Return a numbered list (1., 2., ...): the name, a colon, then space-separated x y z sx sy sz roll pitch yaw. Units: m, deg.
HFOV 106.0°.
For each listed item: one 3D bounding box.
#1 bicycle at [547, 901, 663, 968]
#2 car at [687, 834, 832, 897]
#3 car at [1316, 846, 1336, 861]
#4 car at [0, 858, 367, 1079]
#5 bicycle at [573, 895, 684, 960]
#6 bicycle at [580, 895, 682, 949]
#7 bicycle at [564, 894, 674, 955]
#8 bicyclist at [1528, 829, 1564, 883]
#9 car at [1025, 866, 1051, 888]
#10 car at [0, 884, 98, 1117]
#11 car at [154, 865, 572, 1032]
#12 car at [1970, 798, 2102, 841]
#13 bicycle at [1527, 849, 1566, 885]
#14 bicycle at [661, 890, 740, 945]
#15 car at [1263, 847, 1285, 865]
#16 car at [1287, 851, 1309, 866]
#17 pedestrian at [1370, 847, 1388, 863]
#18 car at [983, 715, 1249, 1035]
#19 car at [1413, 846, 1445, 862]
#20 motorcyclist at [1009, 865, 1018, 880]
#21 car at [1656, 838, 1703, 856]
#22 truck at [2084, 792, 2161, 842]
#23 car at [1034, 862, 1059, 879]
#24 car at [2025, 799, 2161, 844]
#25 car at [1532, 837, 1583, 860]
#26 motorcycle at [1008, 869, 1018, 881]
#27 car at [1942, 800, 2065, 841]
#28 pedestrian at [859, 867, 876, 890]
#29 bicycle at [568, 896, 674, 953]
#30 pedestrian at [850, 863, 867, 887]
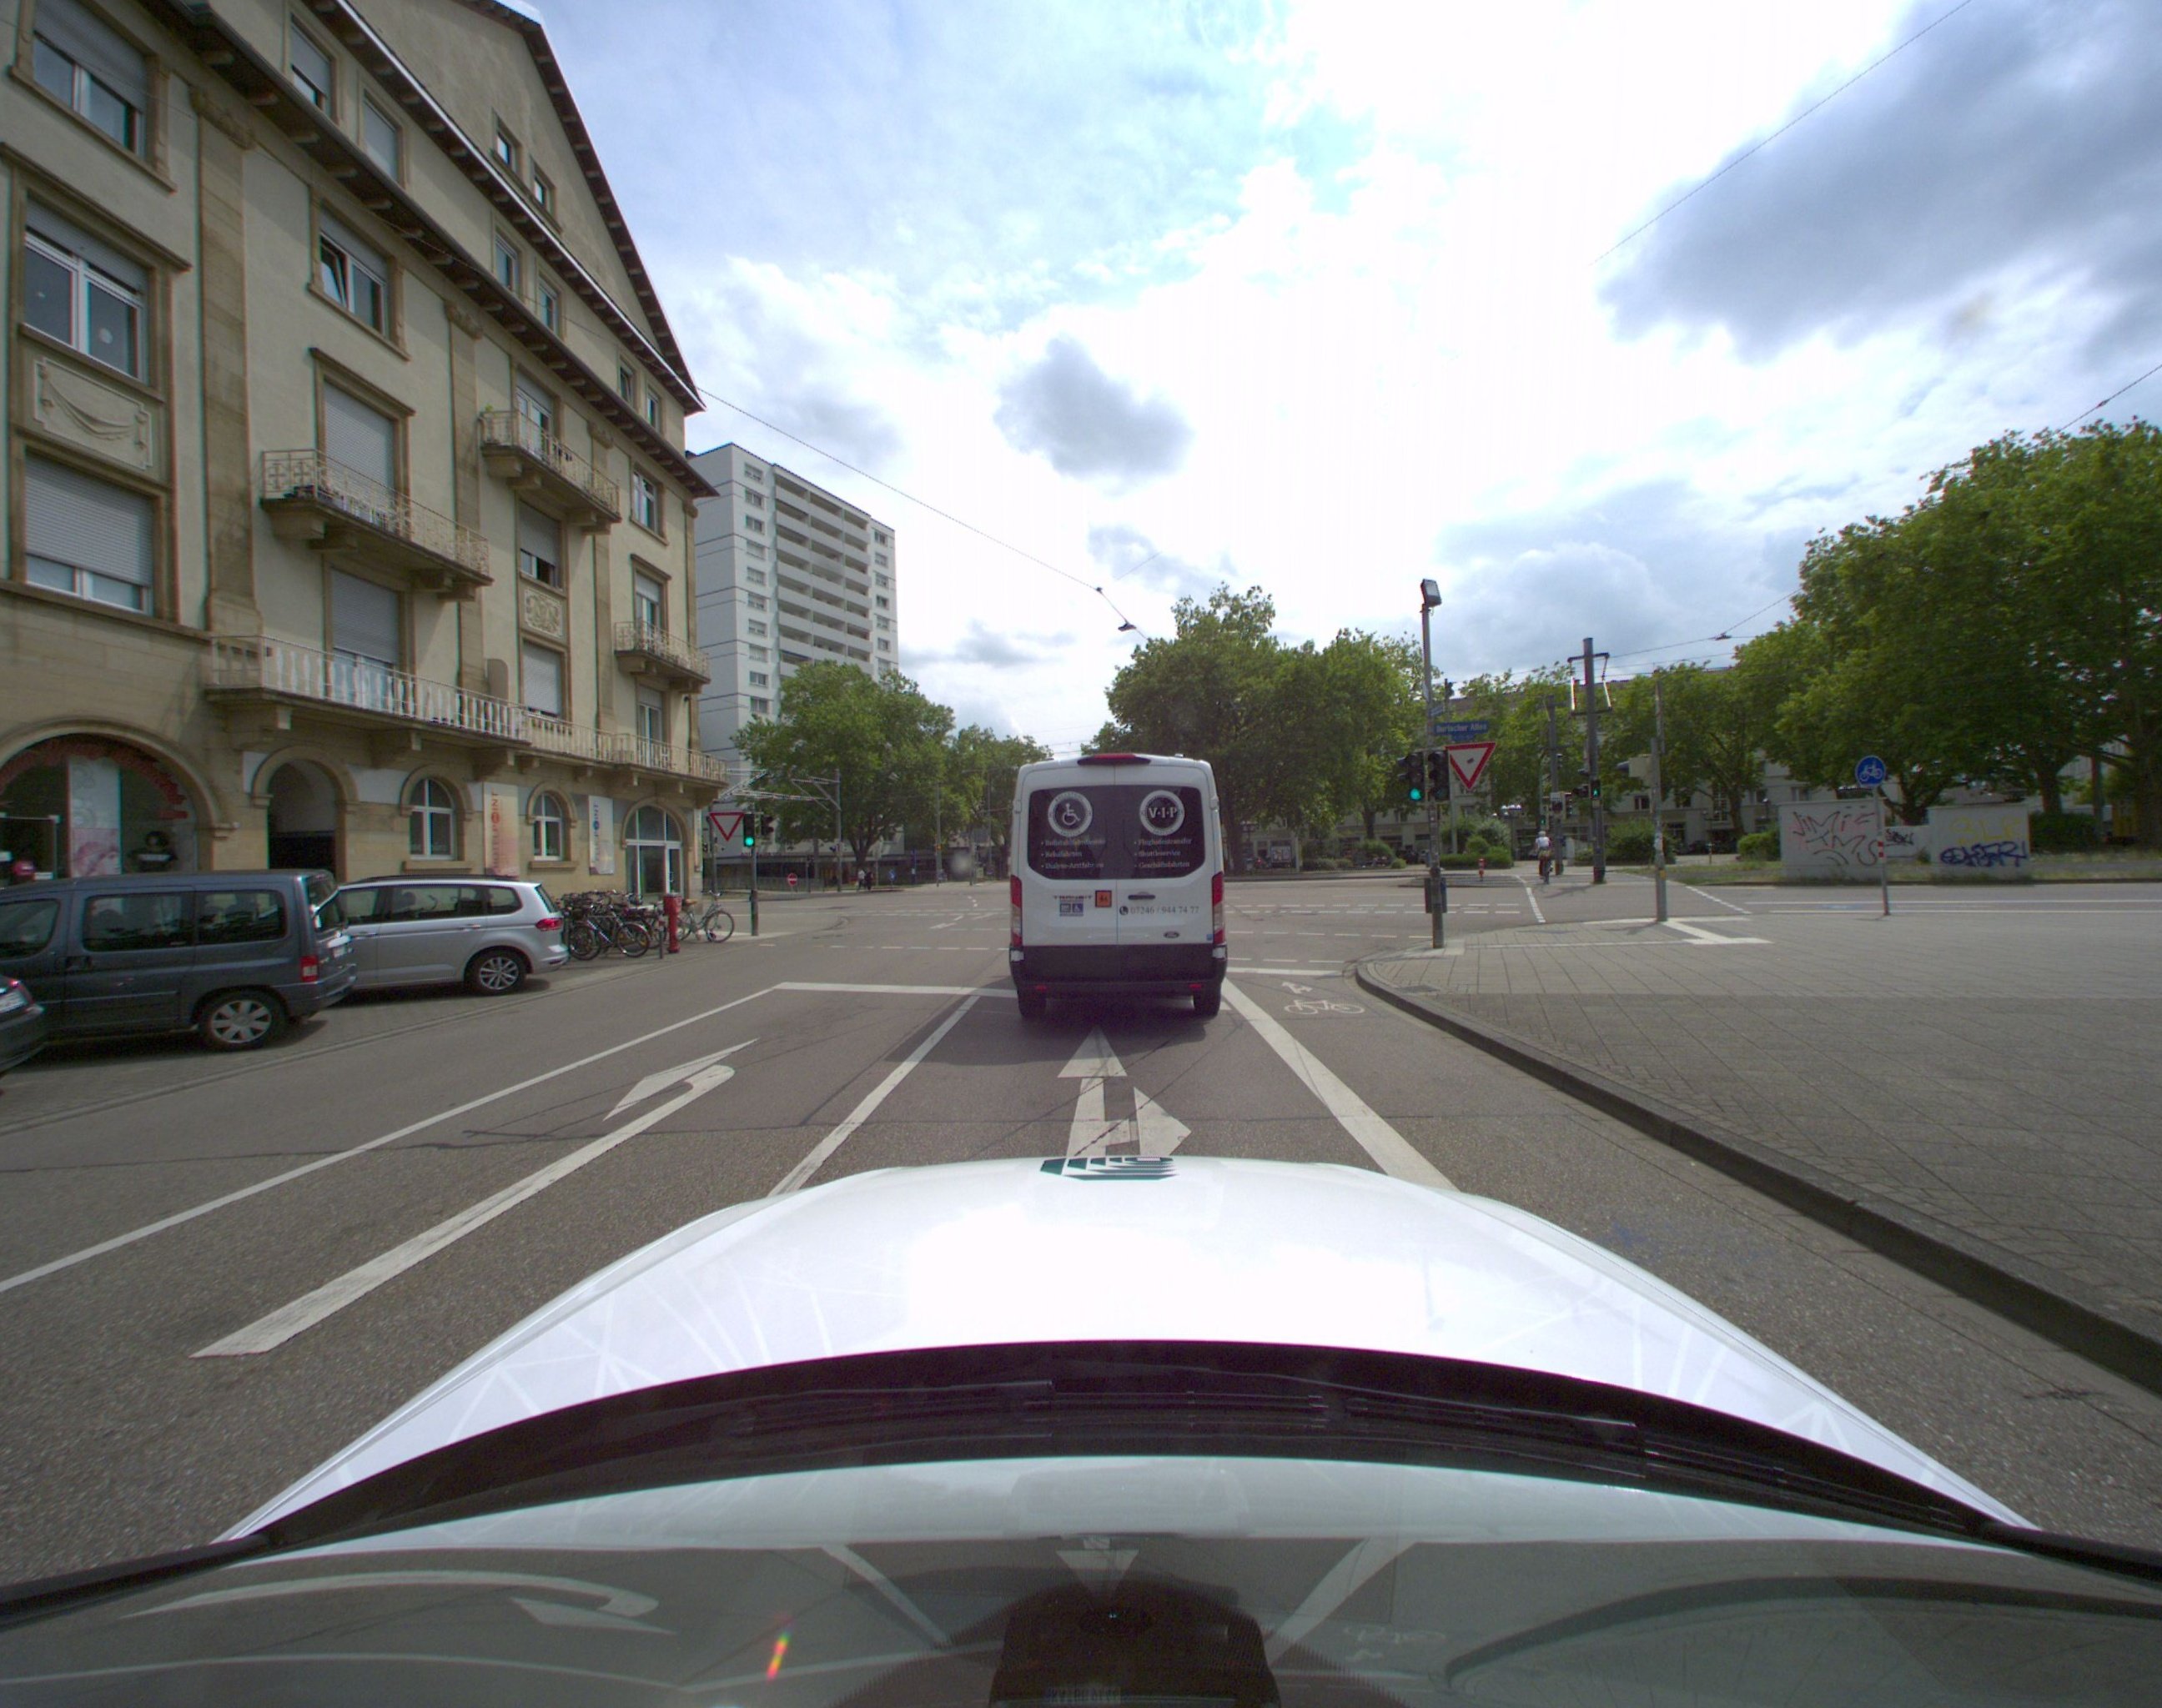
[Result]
1. bicycle: -8.651 1.460 14.820 1.799 1.120 0.595 -2 -1 8
2. car: -22.003 0.835 55.591 9.792 3.915 3.476 -2 0 27
3. car: 30.072 -0.072 100.049 1.788 1.684 4.023 -2 0 24
4. car: -9.819 1.049 8.018 4.031 1.879 1.776 -2 0 -37
5. bicycle: -8.588 1.387 15.480 1.800 1.120 0.595 1 0 5
6. bicycle: -9.674 1.453 17.557 1.807 1.120 0.593 0 -1 -6
7. bicycle: -9.187 1.388 16.234 1.807 1.166 0.593 0 -1 -6
8. bicyclist: 14.857 0.071 26.043 0.895 1.683 0.761 -2 0 25
9. car: -3.361 1.776 63.806 1.585 1.508 3.809 -2 0 2
10. car: -9.813 1.127 5.293 4.031 1.652 1.776 -2 -1 -37
11. car: -9.501 1.114 11.246 4.031 1.773 1.776 -2 0 -37
12. car: 65.798 -2.349 56.283 5.271 2.585 2.512 -2 -2 24
13. bicycle: 14.871 0.390 26.047 0.894 1.075 1.981 -2 0 25
14. bicycle: -8.669 1.435 18.557 1.859 1.167 0.500 0 -1 22
15. car: 21.900 0.192 92.570 1.983 1.930 4.008 -2 0 7
16. car: 24.323 0.495 91.559 1.795 1.684 4.008 -2 0 7
17. pedestrian: 24.814 0.087 67.857 1.086 1.236 1.443 -4 -1 6
18. car: 0.332 0.219 9.273 2.174 2.648 4.628 -2 -1 1
19. car: 36.426 0.011 85.336 1.983 1.503 4.008 -2 0 7
20. motorcyclist: -6.347 1.708 76.669 0.680 1.395 0.682 -2 0 2
21. car: 55.849 -0.629 76.081 1.757 1.503 4.008 -2 0 7
22. truck: 58.493 -1.998 43.860 3.042 2.577 6.549 -2 0 25
23. car: -3.090 1.452 73.795 1.735 1.427 4.037 -2 0 4
24. car: 64.769 -2.021 52.056 5.271 2.585 2.192 -2 -2 24
25. car: 44.058 -0.502 75.386 3.950 1.883 1.868 -2 0 26
26. motorcycle: -6.361 1.965 76.195 0.680 0.971 2.325 -2 0 2
27. car: 66.750 -2.400 59.097 5.271 2.585 2.512 -2 -2 24
28. pedestrian: -14.808 1.705 56.548 0.921 1.514 0.728 -2 0 45
29. bicycle: -9.491 1.439 16.854 1.807 1.120 0.593 0 -1 -6
30. pedestrian: -15.150 1.451 55.416 0.799 1.572 0.728 -2 0 41
